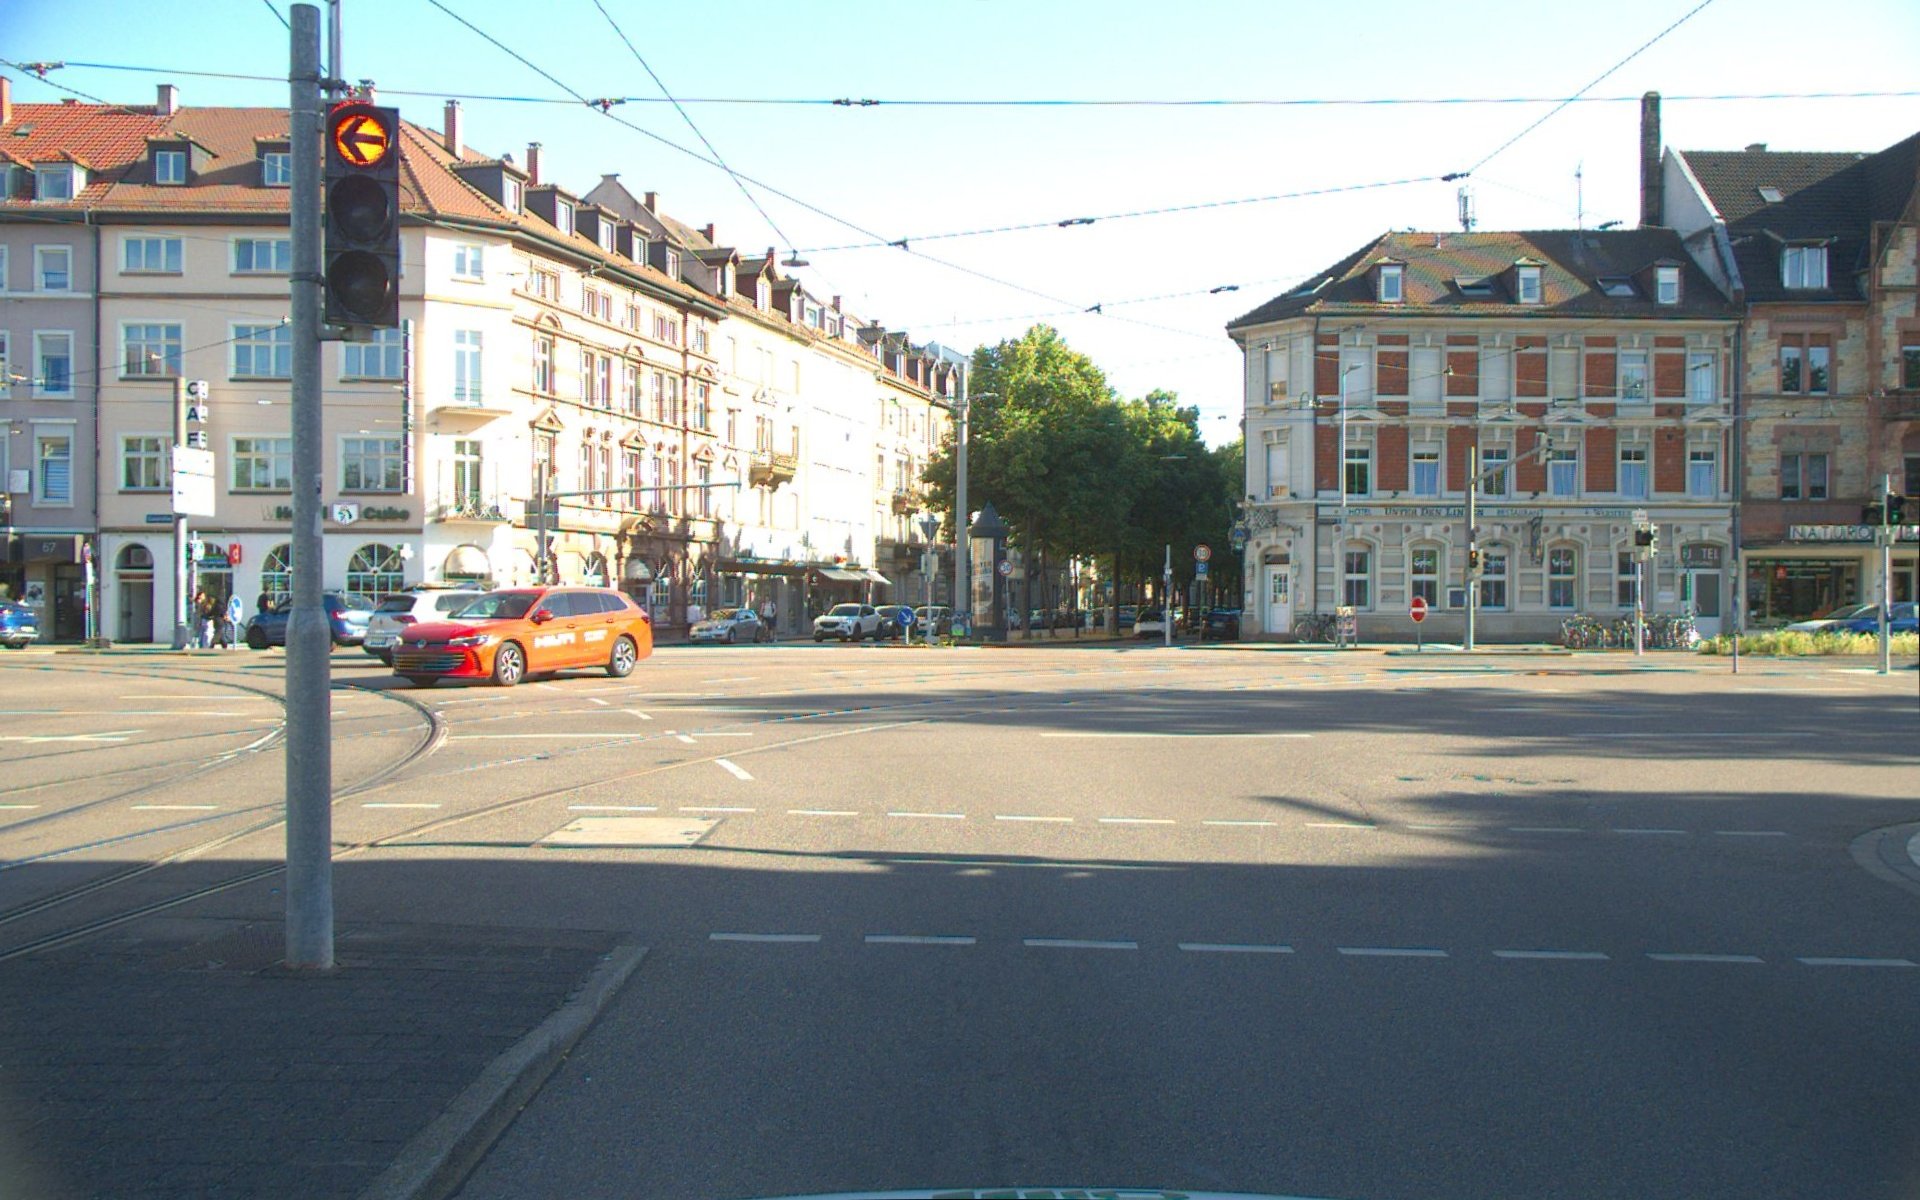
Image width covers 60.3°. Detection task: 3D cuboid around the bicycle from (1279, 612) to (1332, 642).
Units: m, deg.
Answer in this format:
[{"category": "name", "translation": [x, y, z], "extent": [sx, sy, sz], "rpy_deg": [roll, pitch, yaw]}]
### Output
[{"category": "bicycle", "translation": [11.969, 0.926, 57.274], "extent": [1.764, 0.979, 0.604], "rpy_deg": [1, 0, 14]}]

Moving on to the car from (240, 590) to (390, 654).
[{"category": "car", "translation": [-17.105, 0.549, 43.852], "extent": [3.836, 1.530, 1.786], "rpy_deg": [1, 2, 32]}]

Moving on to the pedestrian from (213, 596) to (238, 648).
[{"category": "pedestrian", "translation": [-21.858, 0.660, 49.205], "extent": [0.481, 1.518, 0.556], "rpy_deg": [1, -1, -1]}]

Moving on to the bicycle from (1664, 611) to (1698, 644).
[{"category": "bicycle", "translation": [23.333, 0.872, 53.545], "extent": [0.775, 1.033, 2.211], "rpy_deg": [1, 0, 17]}]

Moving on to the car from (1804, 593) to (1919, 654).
[{"category": "car", "translation": [25.911, 0.660, 46.019], "extent": [3.905, 1.650, 1.804], "rpy_deg": [1, 0, 0]}]

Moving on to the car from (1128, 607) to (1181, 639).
[{"category": "car", "translation": [9.878, 1.157, 83.712], "extent": [1.853, 1.479, 4.010], "rpy_deg": [0, 1, 19]}]

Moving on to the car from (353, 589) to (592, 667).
[{"category": "car", "translation": [-9.435, 0.497, 32.239], "extent": [1.706, 1.414, 4.197], "rpy_deg": [0, 0, 45]}]

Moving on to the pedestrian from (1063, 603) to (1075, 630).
[{"category": "pedestrian", "translation": [8.268, 1.228, 125.654], "extent": [0.736, 2.049, 1.000], "rpy_deg": [1, -1, 16]}]

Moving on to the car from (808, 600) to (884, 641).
[{"category": "car", "translation": [-4.587, 0.824, 67.167], "extent": [1.764, 1.613, 4.162], "rpy_deg": [1, 0, 16]}]

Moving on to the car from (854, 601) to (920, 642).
[{"category": "car", "translation": [-3.221, 0.952, 73.512], "extent": [1.786, 1.715, 3.877], "rpy_deg": [1, 0, 16]}]

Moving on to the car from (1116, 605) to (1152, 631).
[{"category": "car", "translation": [12.303, 1.269, 116.766], "extent": [1.951, 1.713, 4.003], "rpy_deg": [1, 0, 15]}]

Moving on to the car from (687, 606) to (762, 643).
[{"category": "car", "translation": [-9.477, 0.984, 66.854], "extent": [1.624, 1.398, 3.894], "rpy_deg": [1, 0, 14]}]

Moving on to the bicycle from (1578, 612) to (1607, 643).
[{"category": "bicycle", "translation": [20.552, 0.895, 53.786], "extent": [0.749, 0.985, 2.211], "rpy_deg": [1, 0, 17]}]

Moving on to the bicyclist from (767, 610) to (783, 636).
[{"category": "bicyclist", "translation": [-7.519, 0.921, 67.291], "extent": [0.462, 1.058, 0.538], "rpy_deg": [1, -1, 14]}]

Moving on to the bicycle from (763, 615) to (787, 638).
[{"category": "bicycle", "translation": [-7.521, 1.081, 67.280], "extent": [0.462, 0.938, 1.453], "rpy_deg": [1, 0, 14]}]

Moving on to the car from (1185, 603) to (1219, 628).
[{"category": "car", "translation": [14.574, 0.925, 99.460], "extent": [1.786, 1.428, 4.003], "rpy_deg": [0, 0, 12]}]

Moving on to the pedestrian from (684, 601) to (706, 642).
[{"category": "pedestrian", "translation": [-11.123, 0.902, 69.402], "extent": [0.556, 1.671, 0.792], "rpy_deg": [1, -1, 22]}]

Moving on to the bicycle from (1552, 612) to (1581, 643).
[{"category": "bicycle", "translation": [19.798, 0.882, 54.023], "extent": [0.749, 0.979, 2.211], "rpy_deg": [1, 0, 17]}]

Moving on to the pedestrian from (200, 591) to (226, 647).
[{"category": "pedestrian", "translation": [-22.318, 0.565, 49.428], "extent": [0.512, 1.677, 0.497], "rpy_deg": [1, -1, -1]}]

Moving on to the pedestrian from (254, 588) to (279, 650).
[{"category": "pedestrian", "translation": [-20.852, 0.572, 49.752], "extent": [0.517, 1.854, 0.675], "rpy_deg": [1, -1, -8]}]

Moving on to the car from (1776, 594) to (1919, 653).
[{"category": "car", "translation": [26.639, 0.687, 49.143], "extent": [3.905, 1.650, 1.804], "rpy_deg": [1, 0, 0]}]

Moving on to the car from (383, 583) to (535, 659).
[{"category": "car", "translation": [-11.428, 0.446, 38.072], "extent": [1.829, 1.630, 4.457], "rpy_deg": [-1, 0, 5]}]

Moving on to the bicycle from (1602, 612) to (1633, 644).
[{"category": "bicycle", "translation": [21.331, 0.909, 53.693], "extent": [0.749, 1.001, 2.211], "rpy_deg": [1, 0, 17]}]

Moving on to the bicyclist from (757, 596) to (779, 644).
[{"category": "bicyclist", "translation": [-7.548, 0.786, 65.038], "extent": [0.553, 1.835, 0.915], "rpy_deg": [1, -1, 14]}]

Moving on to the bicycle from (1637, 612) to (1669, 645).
[{"category": "bicycle", "translation": [22.460, 0.916, 53.652], "extent": [0.749, 1.025, 2.221], "rpy_deg": [1, 0, 17]}]

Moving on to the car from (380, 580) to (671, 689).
[{"category": "car", "translation": [-6.687, 0.461, 26.062], "extent": [1.762, 1.495, 4.871], "rpy_deg": [1, 1, 25]}]

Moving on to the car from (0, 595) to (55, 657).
[{"category": "car", "translation": [-26.429, 0.658, 43.627], "extent": [4.097, 1.602, 1.832], "rpy_deg": [0, 0, 3]}]

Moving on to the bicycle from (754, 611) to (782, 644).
[{"category": "bicycle", "translation": [-7.545, 1.071, 65.028], "extent": [0.553, 1.276, 1.558], "rpy_deg": [1, 0, 14]}]

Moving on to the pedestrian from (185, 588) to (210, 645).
[{"category": "pedestrian", "translation": [-22.821, 0.499, 49.507], "extent": [0.512, 1.677, 0.497], "rpy_deg": [1, -1, -1]}]

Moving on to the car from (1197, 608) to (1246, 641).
[{"category": "car", "translation": [13.085, 1.230, 82.678], "extent": [1.719, 1.583, 4.001], "rpy_deg": [1, 0, 19]}]

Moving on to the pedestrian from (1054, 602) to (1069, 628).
[{"category": "pedestrian", "translation": [7.154, 1.047, 116.538], "extent": [0.703, 1.821, 0.688], "rpy_deg": [1, -1, -36]}]

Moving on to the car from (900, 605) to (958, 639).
[{"category": "car", "translation": [-1.446, 1.046, 79.381], "extent": [1.764, 1.603, 3.893], "rpy_deg": [1, 0, 15]}]
